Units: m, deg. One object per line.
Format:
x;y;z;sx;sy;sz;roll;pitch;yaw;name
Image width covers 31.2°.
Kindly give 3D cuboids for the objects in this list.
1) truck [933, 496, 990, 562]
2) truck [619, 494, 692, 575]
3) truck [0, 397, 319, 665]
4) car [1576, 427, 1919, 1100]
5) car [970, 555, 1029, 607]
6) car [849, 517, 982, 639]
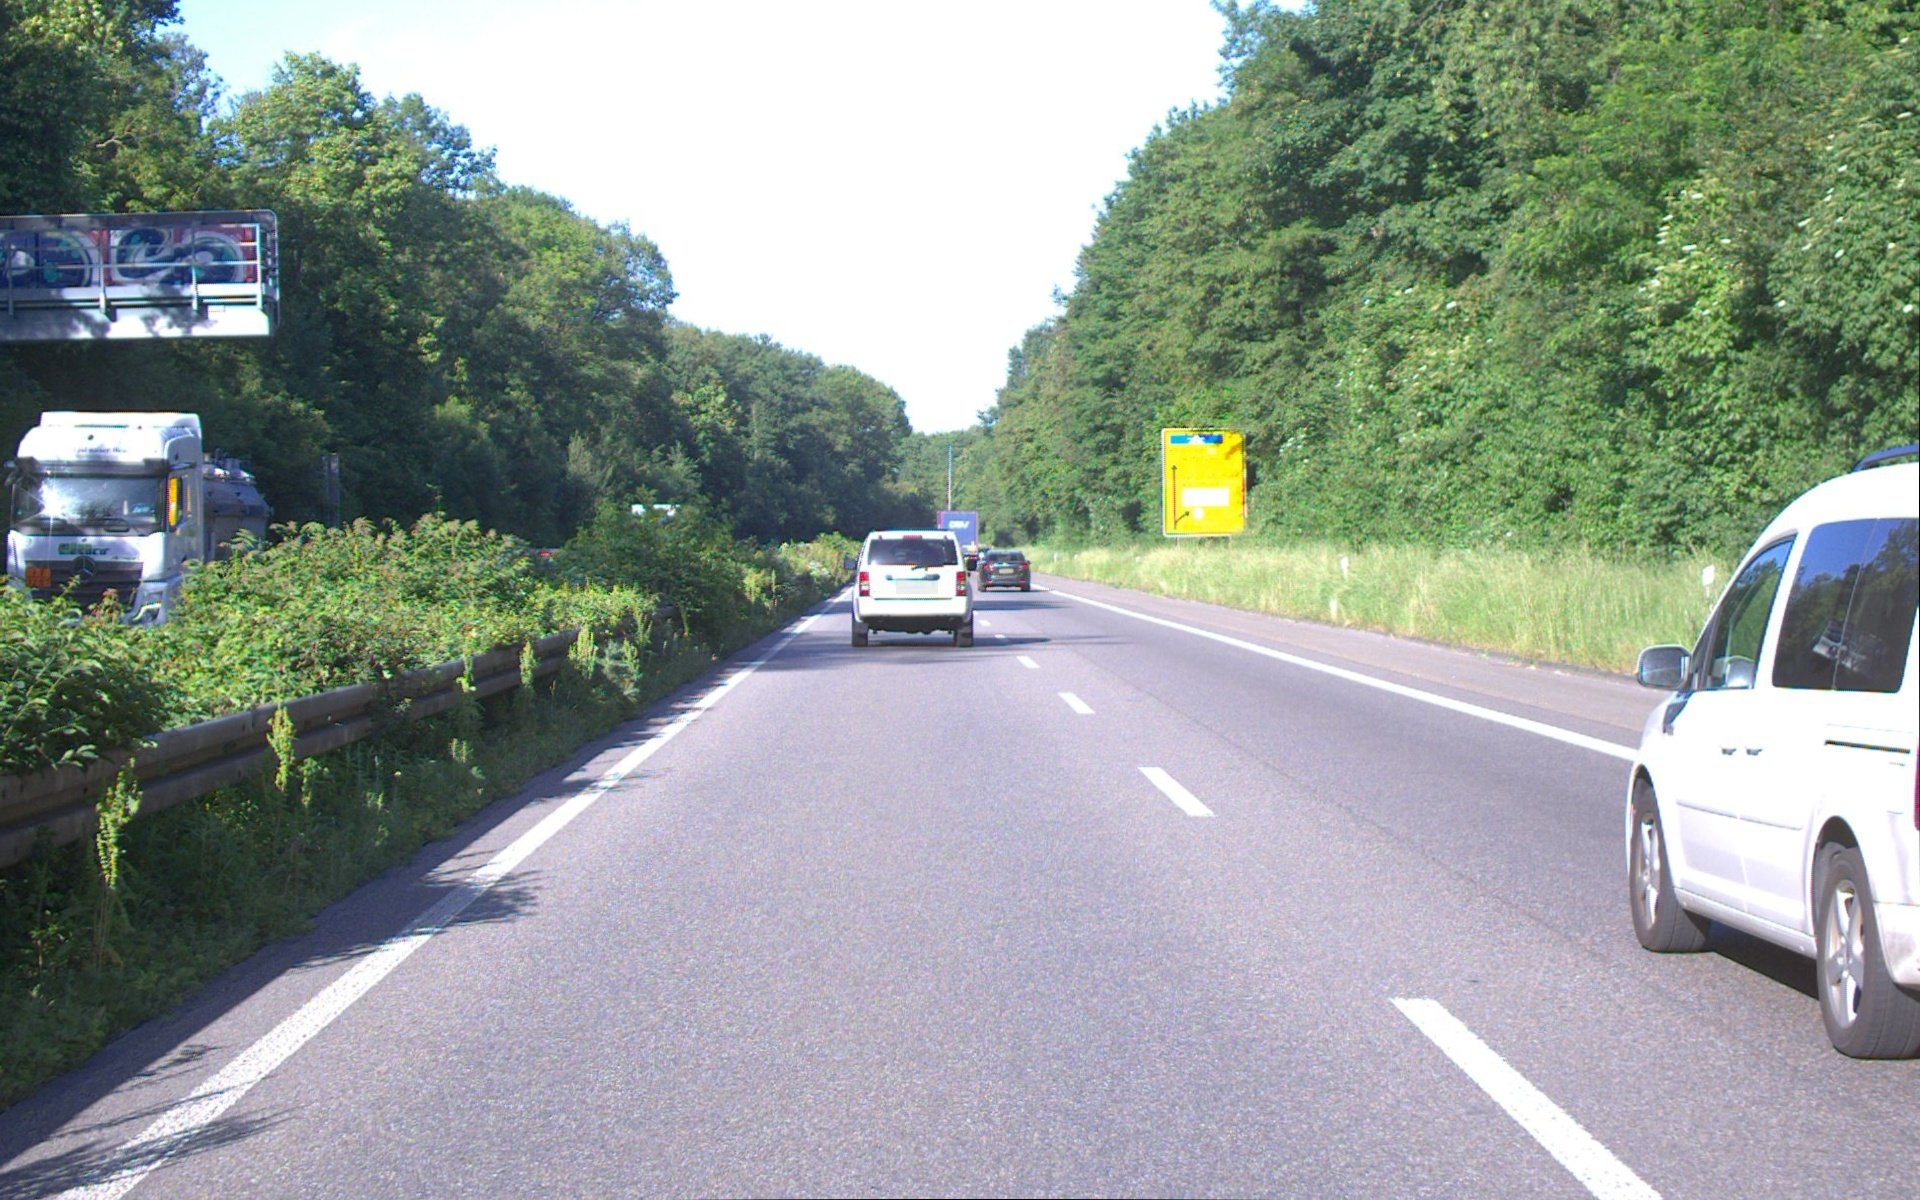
0.081;-4.795;233.637;3.734;4.328;9.305;1;0;-1;truck
-15.364;-3.301;174.060;3.228;3.999;5.677;1;1;-1;truck
-13.012;-1.081;56.743;2.769;3.942;11.467;1;0;-1;truck
3.433;0.427;11.520;1.799;1.807;4.588;1;0;-1;car
1.387;-0.686;122.276;1.951;1.776;4.588;1;0;-1;car
-0.706;-0.345;53.350;1.951;1.776;4.588;1;0;-1;car
